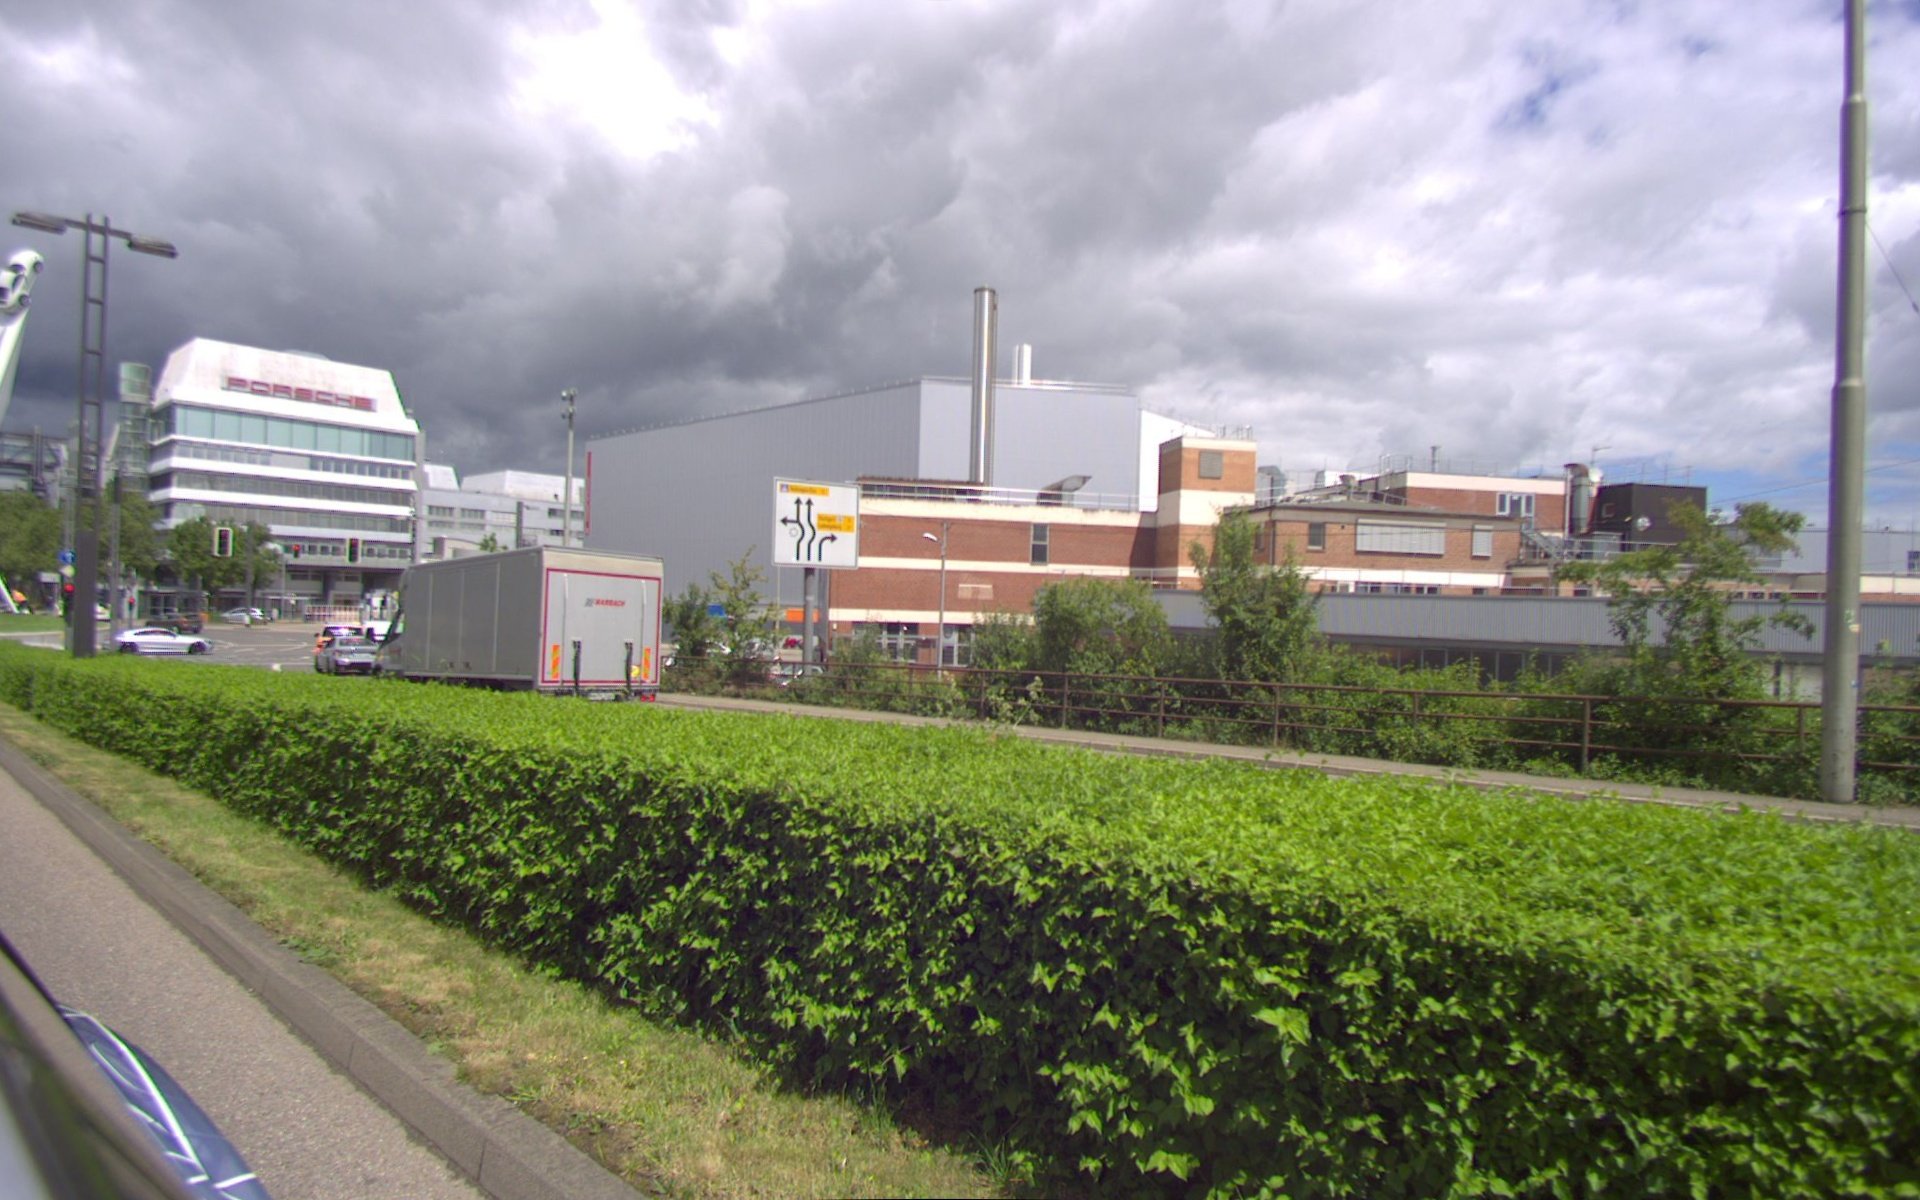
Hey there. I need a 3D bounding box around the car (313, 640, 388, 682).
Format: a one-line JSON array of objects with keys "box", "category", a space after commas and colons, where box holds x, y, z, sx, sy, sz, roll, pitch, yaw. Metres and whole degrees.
[{"box": [-22.928, 2.266, 37.992, 1.773, 1.433, 4.501, 3, -3, -38], "category": "car"}]

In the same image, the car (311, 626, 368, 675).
[{"box": [-26.869, 2.115, 43.871, 1.966, 1.973, 4.641, 1, -1, -31], "category": "car"}]

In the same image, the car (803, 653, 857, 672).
[{"box": [-9.130, 4.402, 71.371, 3.563, 1.251, 1.471, 2, -3, -41], "category": "car"}]

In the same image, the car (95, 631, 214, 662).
[{"box": [-41.944, 2.401, 52.769, 4.712, 1.497, 2.052, 2, -2, -43], "category": "car"}]

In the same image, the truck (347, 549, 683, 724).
[{"box": [-9.553, 0.854, 20.936, 9.374, 2.879, 2.825, -4, -4, 42], "category": "truck"}]

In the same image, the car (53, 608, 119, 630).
[{"box": [-76.027, 1.683, 88.023, 4.351, 1.843, 1.994, 0, -2, 9], "category": "car"}]

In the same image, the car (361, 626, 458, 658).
[{"box": [-33.210, 2.493, 61.122, 4.792, 1.837, 2.003, 2, -2, -41], "category": "car"}]

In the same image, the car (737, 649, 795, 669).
[{"box": [-13.035, 3.975, 68.105, 3.563, 1.251, 1.471, 2, -2, -41], "category": "car"}]

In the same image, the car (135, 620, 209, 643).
[{"box": [-61.417, 2.431, 78.947, 4.132, 1.708, 1.956, 1, -2, -5], "category": "car"}]
